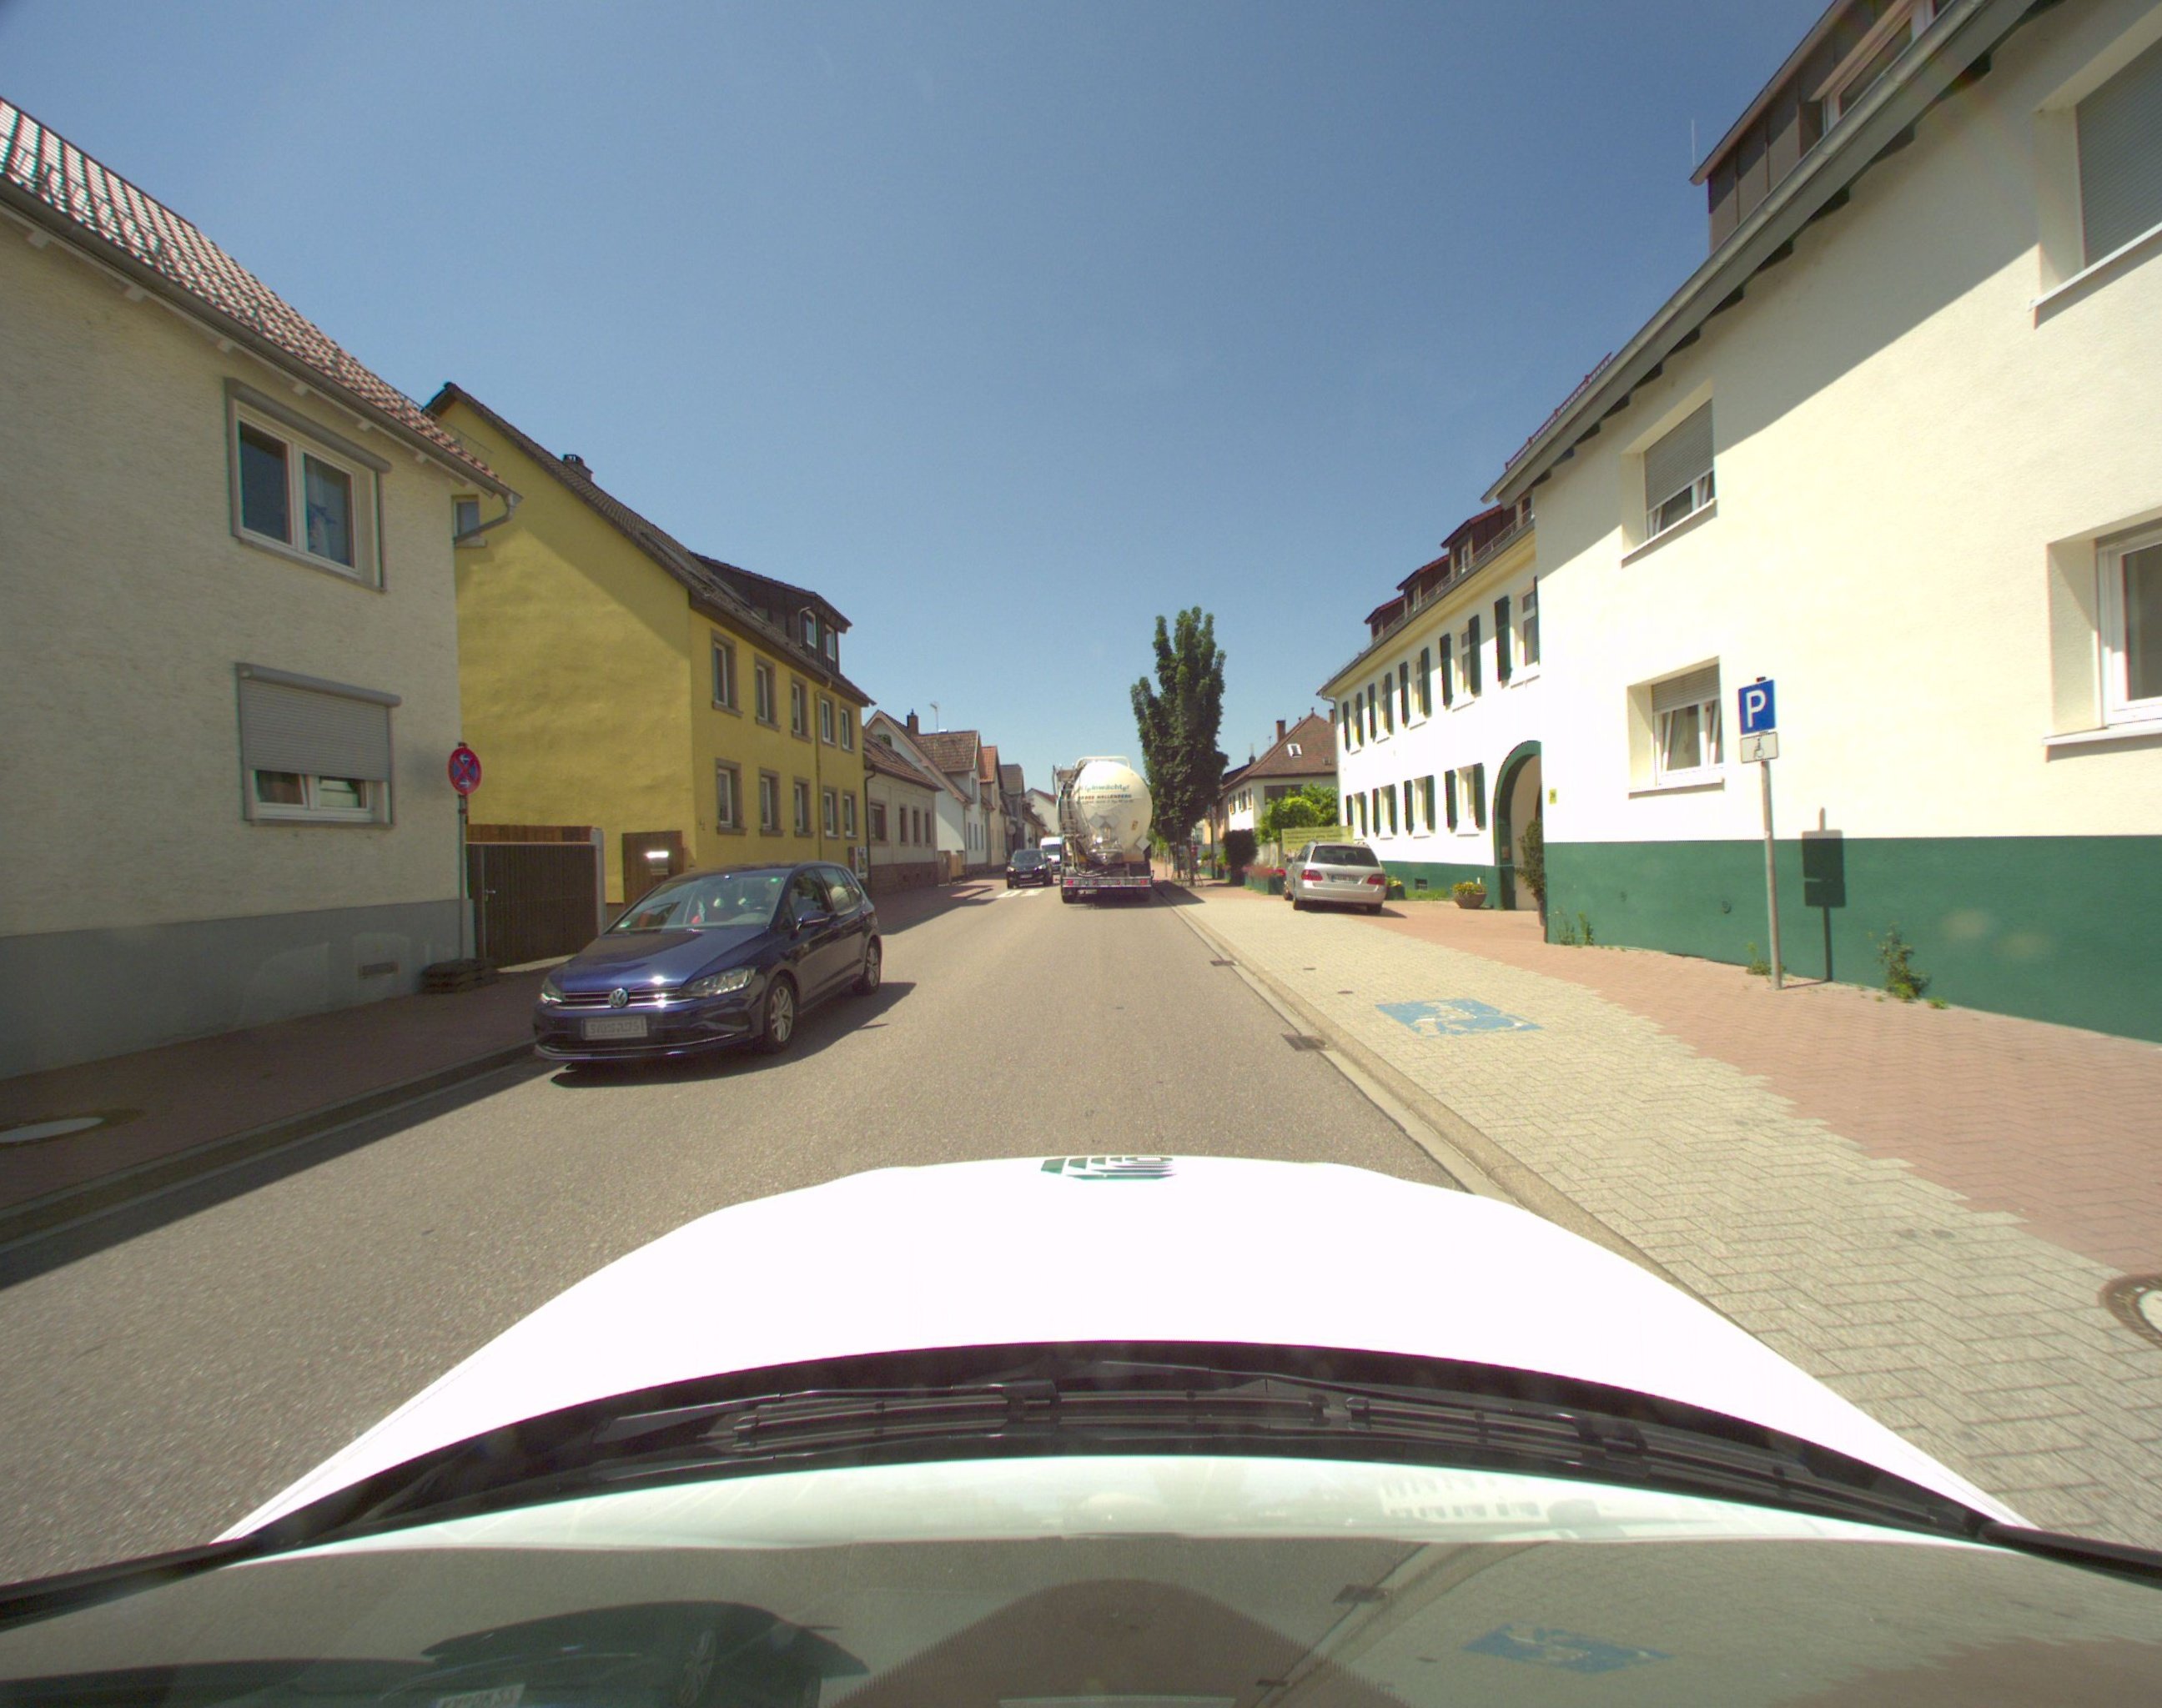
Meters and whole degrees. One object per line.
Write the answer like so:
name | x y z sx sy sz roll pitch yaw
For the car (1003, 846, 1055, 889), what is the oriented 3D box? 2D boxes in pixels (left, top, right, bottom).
car | -2.267 0.549 36.341 1.833 1.669 4.325 -3 0 1

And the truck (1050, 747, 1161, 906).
truck | 0.679 -0.664 24.527 2.723 3.960 8.142 -1 0 1

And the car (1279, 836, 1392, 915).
car | 5.588 0.385 18.424 1.804 1.462 4.899 3 1 10

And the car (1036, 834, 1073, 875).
car | -1.715 0.019 54.697 2.062 2.455 6.009 -3 0 1

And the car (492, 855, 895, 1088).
car | -3.235 0.843 7.851 1.758 1.536 4.079 -3 0 1
